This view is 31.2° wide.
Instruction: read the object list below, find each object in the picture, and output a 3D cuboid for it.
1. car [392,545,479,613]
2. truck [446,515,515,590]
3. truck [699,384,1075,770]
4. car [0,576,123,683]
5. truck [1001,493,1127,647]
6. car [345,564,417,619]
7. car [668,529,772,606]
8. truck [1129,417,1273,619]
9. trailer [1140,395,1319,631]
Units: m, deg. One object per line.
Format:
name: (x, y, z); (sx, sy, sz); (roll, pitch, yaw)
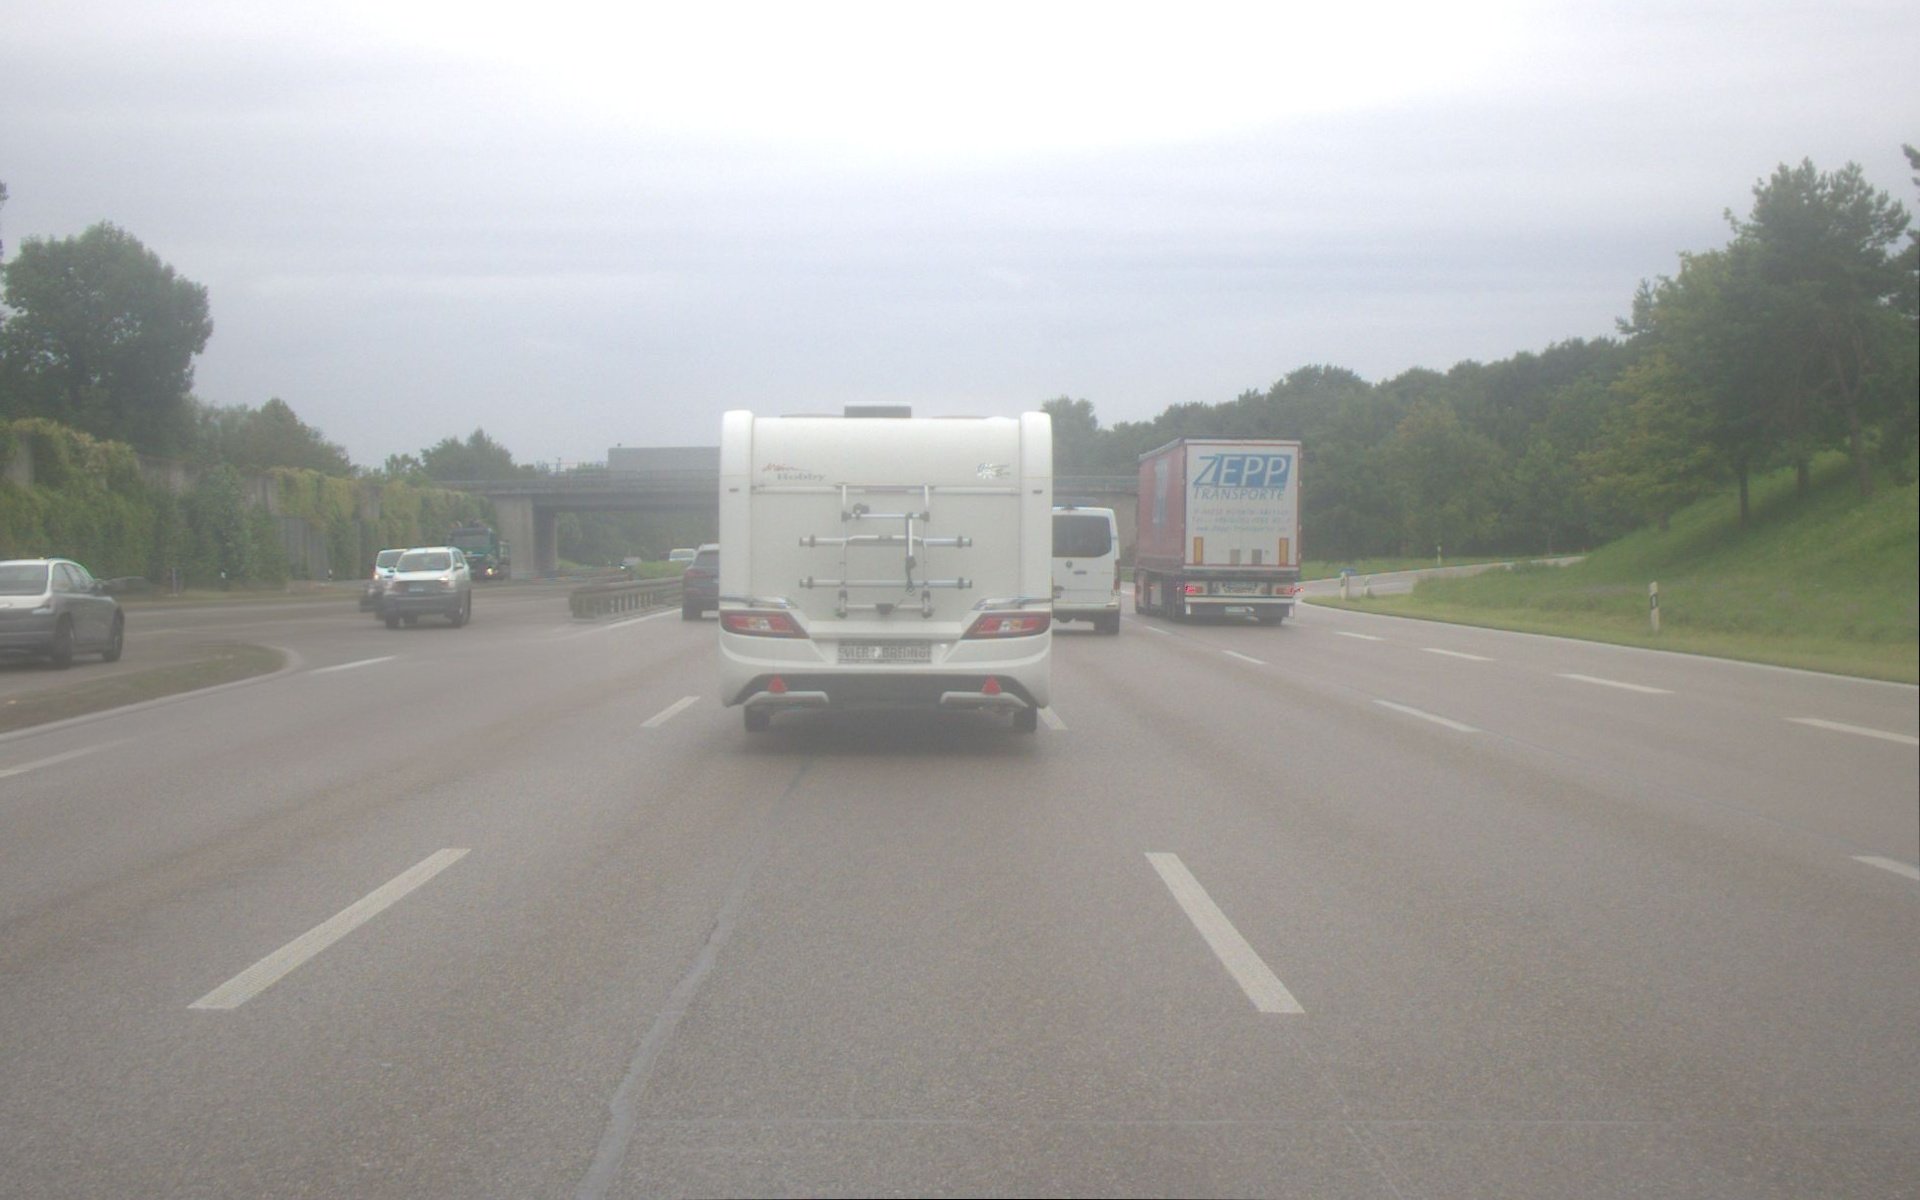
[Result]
car: (-14.063, -0.563, 92.351); (1.787, 1.745, 4.537); (1, 1, -2)
truck: (-25.265, -2.490, 181.420); (2.691, 3.764, 8.338); (1, 0, -2)
truck: (-0.578, -0.187, 27.353); (2.661, 2.733, 5.078); (1, 0, -1)
car: (-13.450, 0.426, 49.581); (1.601, 1.402, 4.765); (-4, 1, -1)
truck: (1.930, -0.572, 65.516); (2.053, 2.760, 5.549); (1, 0, -1)
car: (-22.240, -0.346, 132.289); (1.993, 2.007, 4.957); (1, 0, -1)
car: (-5.213, -0.707, 75.204); (1.993, 1.594, 5.124); (1, 1, -1)
truck: (5.964, -2.011, 85.868); (3.048, 4.823, 5.850); (1, 0, -1)
trailer: (5.976, -1.892, 78.310); (3.100, 4.905, 11.790); (1, 0, 0)
